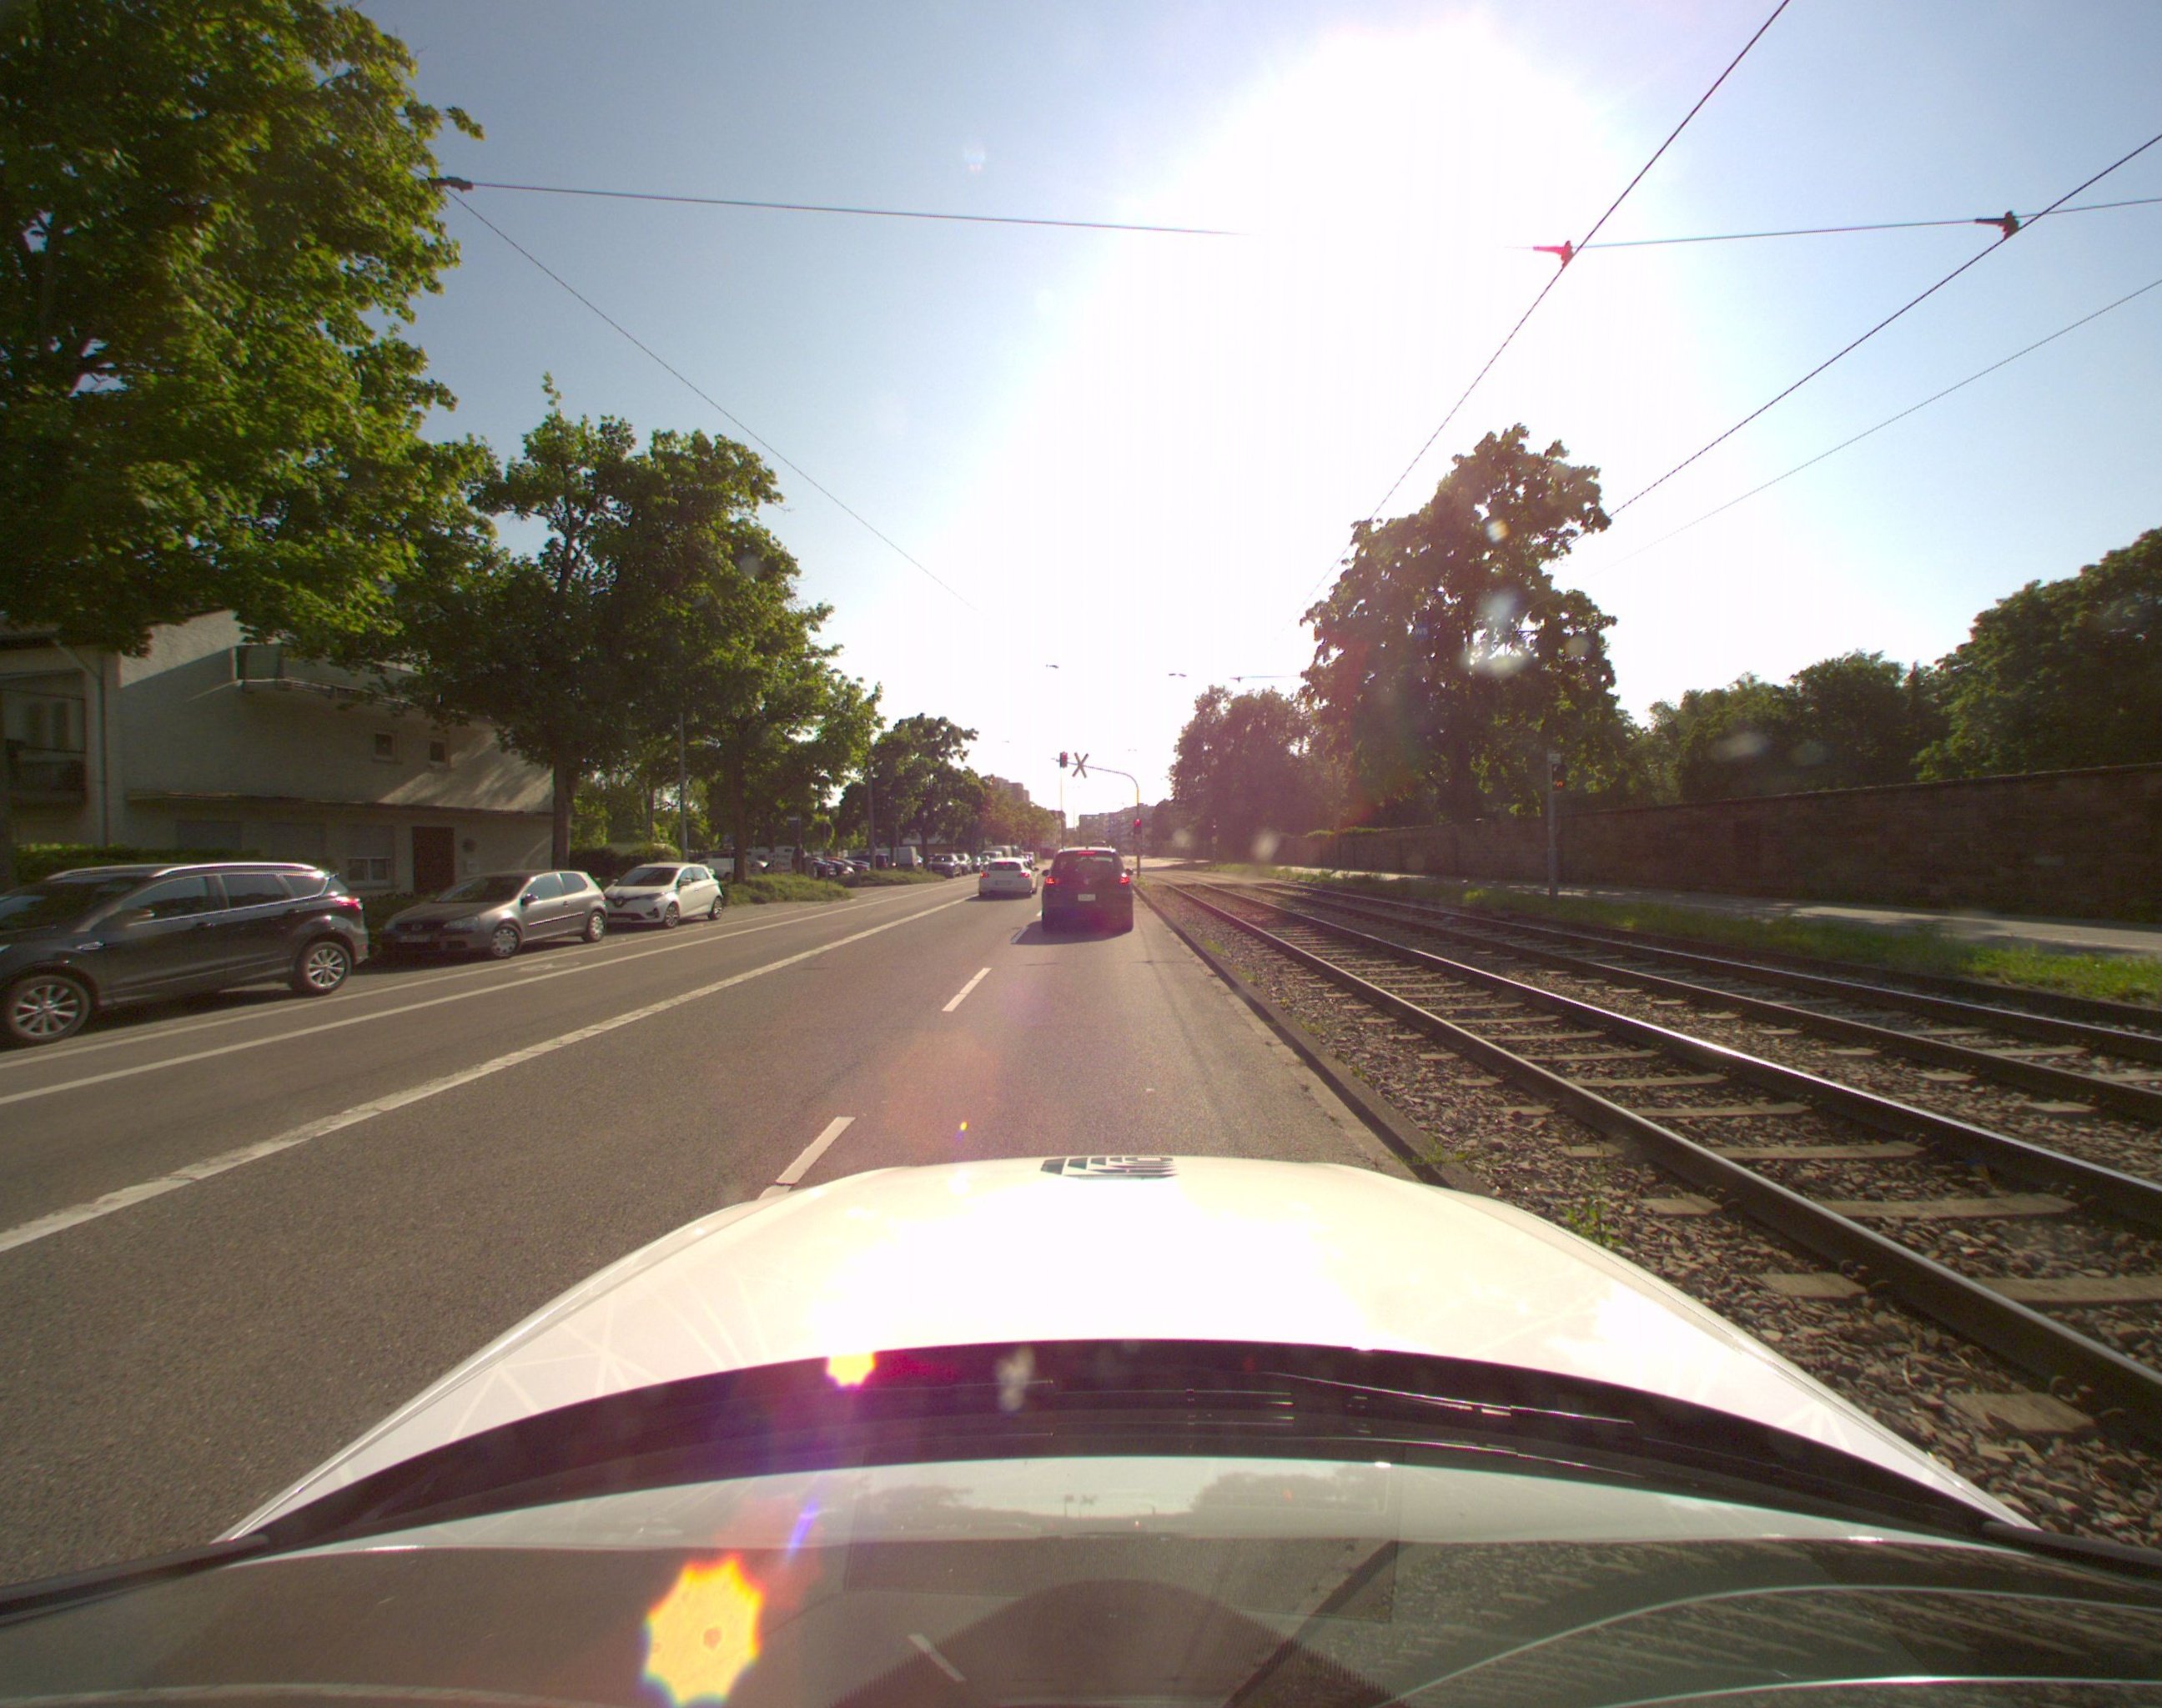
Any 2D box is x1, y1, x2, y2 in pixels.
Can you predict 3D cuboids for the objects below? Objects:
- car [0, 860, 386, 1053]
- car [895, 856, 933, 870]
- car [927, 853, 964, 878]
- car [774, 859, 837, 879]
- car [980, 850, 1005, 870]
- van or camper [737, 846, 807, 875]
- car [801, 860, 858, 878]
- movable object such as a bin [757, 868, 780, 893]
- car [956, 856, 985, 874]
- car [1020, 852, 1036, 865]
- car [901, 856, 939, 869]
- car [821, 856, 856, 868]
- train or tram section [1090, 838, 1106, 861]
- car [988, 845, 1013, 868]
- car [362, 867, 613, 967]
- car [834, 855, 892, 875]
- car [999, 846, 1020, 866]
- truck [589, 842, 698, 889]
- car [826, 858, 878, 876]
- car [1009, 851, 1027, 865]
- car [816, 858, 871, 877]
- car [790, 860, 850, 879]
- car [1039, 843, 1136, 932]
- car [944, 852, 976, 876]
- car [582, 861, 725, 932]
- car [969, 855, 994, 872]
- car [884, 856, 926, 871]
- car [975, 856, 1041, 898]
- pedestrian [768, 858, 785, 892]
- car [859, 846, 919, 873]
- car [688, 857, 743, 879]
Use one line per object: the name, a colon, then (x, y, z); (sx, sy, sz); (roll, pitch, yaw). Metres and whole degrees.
car: (-10.569, 0.963, 9.100); (1.667, 1.694, 4.424); (-1, 0, 2)
car: (-18.832, 1.016, 91.885); (3.977, 1.397, 1.736); (-2, 0, -2)
car: (-9.608, 0.775, 57.860); (1.725, 1.657, 4.003); (-2, 0, 3)
car: (-20.076, 1.077, 59.517); (3.977, 1.307, 1.736); (-2, 0, -2)
car: (-8.765, 0.570, 80.994); (1.725, 1.860, 4.493); (-2, 0, 3)
van or camper: (-32.508, 0.655, 85.876); (6.439, 2.868, 2.308); (-1, 0, 2)
car: (-20.175, 1.192, 65.401); (3.977, 1.307, 1.736); (-2, 0, -2)
movable object such as a bin: (-15.058, 1.283, 39.260); (0.540, 1.146, 1.261); (-2, 0, 2)
car: (-9.421, 0.901, 69.796); (1.725, 1.389, 3.738); (-2, 1, 3)
car: (-7.650, 0.609, 117.526); (1.725, 1.694, 4.003); (-2, 1, 3)
car: (-18.554, 1.010, 94.113); (3.977, 1.397, 1.736); (-2, 0, -2)
car: (-31.629, 1.060, 106.126); (3.977, 1.397, 1.736); (-2, 0, -2)
train or tram section: (2.775, -0.717, 129.978); (2.318, 3.570, 8.903); (-2, 0, 2)
car: (-8.662, 0.283, 87.671); (1.856, 2.347, 4.988); (-2, 0, 3)
car: (-10.534, 1.022, 14.878); (1.672, 1.468, 3.967); (-1, 0, -1)
car: (-19.506, 0.948, 72.965); (4.604, 1.651, 2.048); (-2, 0, -1)
car: (-8.275, 0.220, 94.496); (1.725, 2.268, 4.648); (-2, 0, 3)
truck: (-32.582, 0.818, 60.751); (6.941, 3.242, 1.987); (-2, 0, -1)
car: (-19.851, 1.084, 70.581); (3.977, 1.397, 1.736); (-2, 0, -2)
car: (-8.184, 0.475, 106.146); (1.725, 1.694, 4.003); (-2, 1, 3)
car: (-19.653, 1.087, 67.539); (3.977, 1.397, 1.736); (-2, 0, -2)
car: (-19.897, 1.194, 62.110); (3.977, 1.307, 1.736); (-2, 0, -2)
car: (0.174, 0.634, 17.278); (1.804, 1.645, 4.001); (0, 0, 1)
car: (-9.419, 0.772, 63.659); (1.725, 1.694, 4.003); (-2, 1, 3)
car: (-10.534, 0.971, 20.399); (1.596, 1.550, 3.892); (0, 0, -2)
car: (-9.213, 0.863, 75.679); (1.725, 1.450, 3.738); (-2, 1, 3)
car: (-18.650, 1.025, 86.409); (3.977, 1.397, 1.736); (-2, 0, -2)
car: (-2.531, 0.765, 29.205); (1.858, 1.348, 4.001); (-1, 0, 1)
pedestrian: (-15.028, 1.031, 40.199); (0.522, 1.628, 0.610); (-2, 0, 1)
car: (-19.017, 0.545, 80.983); (5.356, 2.423, 2.088); (-2, 0, 1)
car: (-31.758, 1.227, 70.873); (3.982, 1.728, 1.623); (-2, 0, -6)
